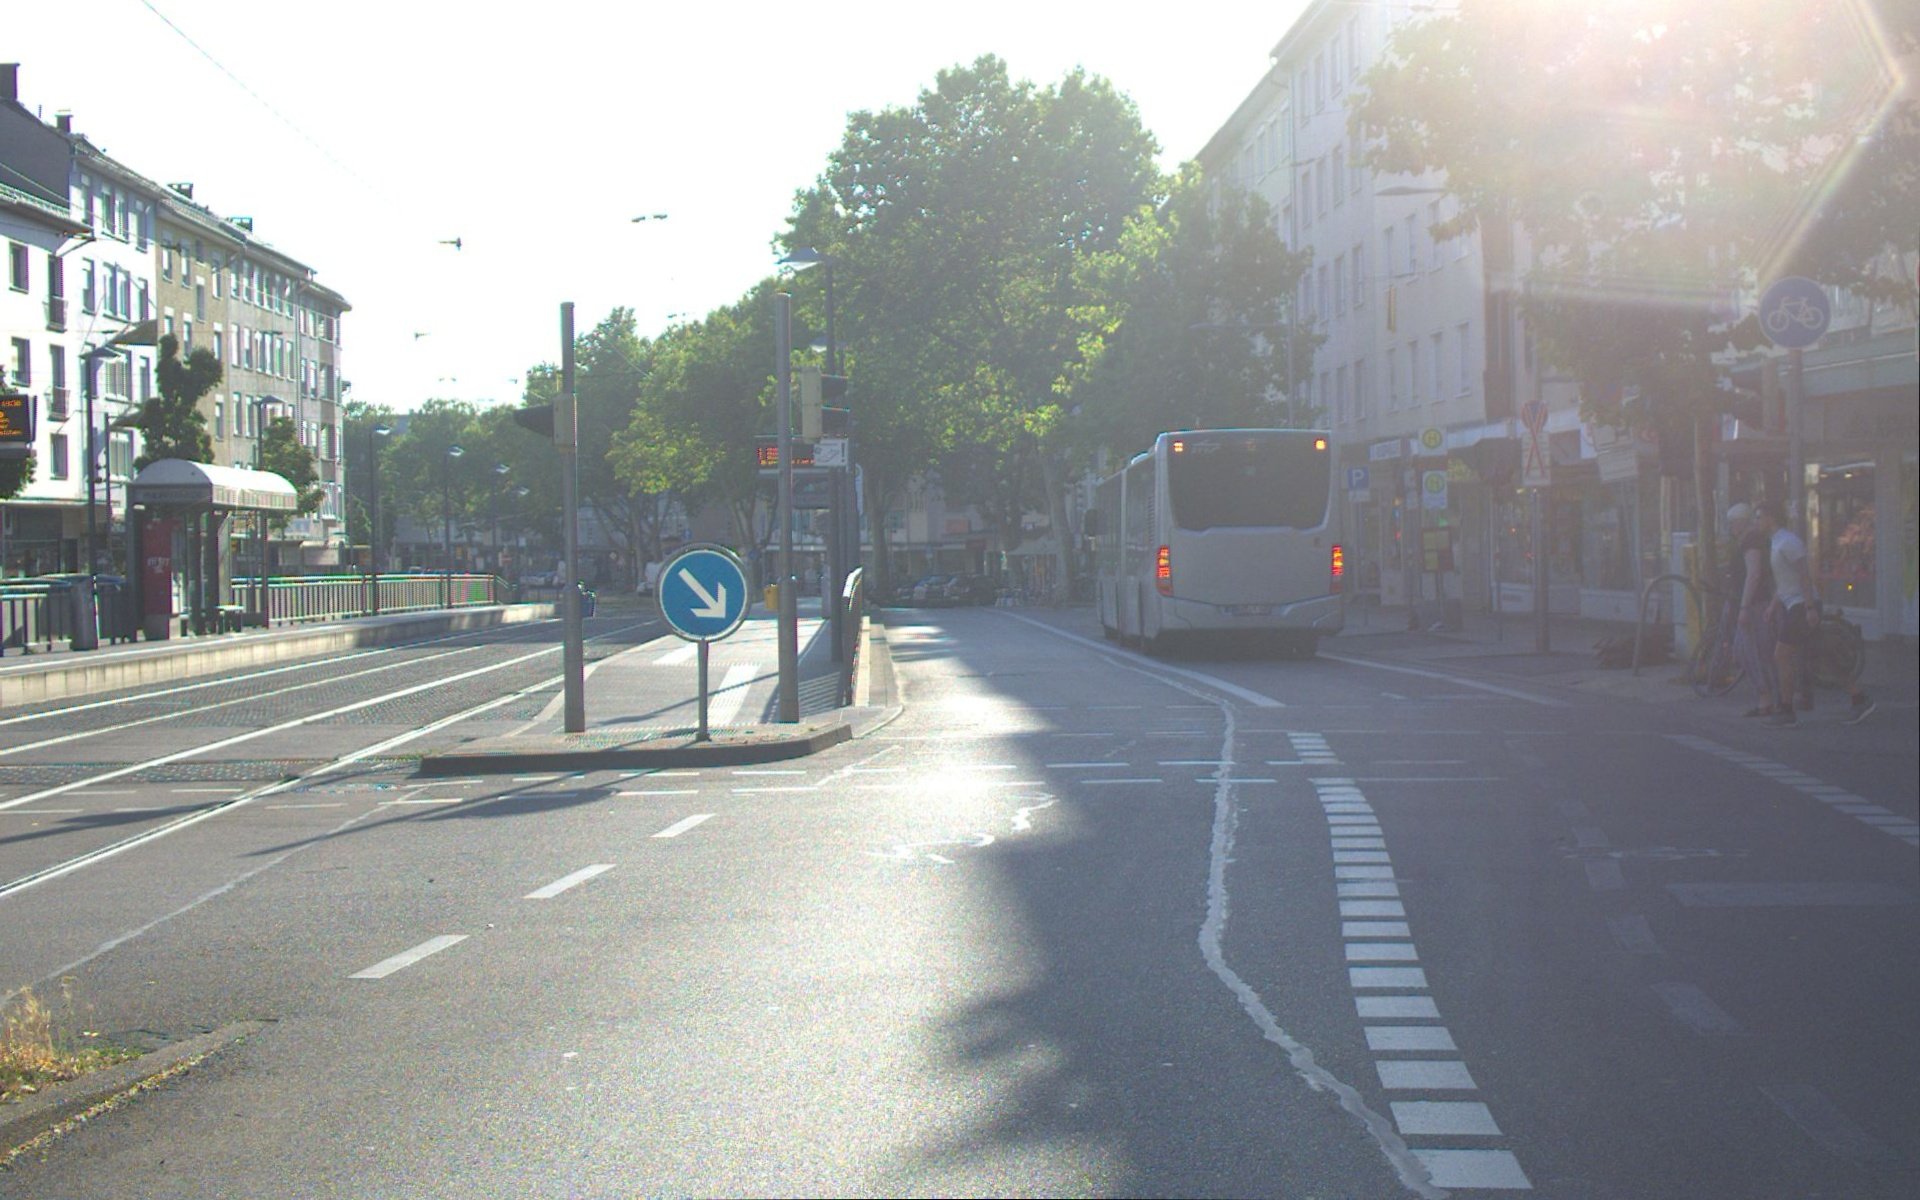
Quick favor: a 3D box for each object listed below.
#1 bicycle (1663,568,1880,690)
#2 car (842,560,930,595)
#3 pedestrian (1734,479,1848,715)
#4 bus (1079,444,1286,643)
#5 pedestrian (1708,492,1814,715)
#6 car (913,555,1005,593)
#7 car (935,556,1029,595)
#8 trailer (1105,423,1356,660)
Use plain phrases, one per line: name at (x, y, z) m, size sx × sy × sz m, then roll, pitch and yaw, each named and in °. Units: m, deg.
bicycle at (7.385, 0.256, 31.320) m, size 1.772 × 1.018 × 0.694 m, roll -2°, pitch 1°, yaw -1°
car at (-3.590, -1.110, 166.615) m, size 3.889 × 1.591 × 1.691 m, roll -2°, pitch 1°, yaw -29°
pedestrian at (6.323, -0.030, 26.180) m, size 0.680 × 1.764 × 0.687 m, roll -1°, pitch 1°, yaw 0°
bus at (3.673, -0.962, 58.945) m, size 2.812 × 3.091 × 9.095 m, roll 1°, pitch 1°, yaw -1°
pedestrian at (6.471, 0.022, 27.784) m, size 0.680 × 1.764 × 0.687 m, roll -1°, pitch 1°, yaw 0°
car at (-0.042, -1.246, 161.395) m, size 3.889 × 1.693 × 1.833 m, roll -2°, pitch 1°, yaw -29°
car at (1.028, -1.122, 158.532) m, size 3.889 × 1.693 × 1.833 m, roll -2°, pitch 1°, yaw -29°
trailer at (3.774, -0.841, 50.001) m, size 2.812 × 3.099 × 8.795 m, roll 1°, pitch 1°, yaw -1°
